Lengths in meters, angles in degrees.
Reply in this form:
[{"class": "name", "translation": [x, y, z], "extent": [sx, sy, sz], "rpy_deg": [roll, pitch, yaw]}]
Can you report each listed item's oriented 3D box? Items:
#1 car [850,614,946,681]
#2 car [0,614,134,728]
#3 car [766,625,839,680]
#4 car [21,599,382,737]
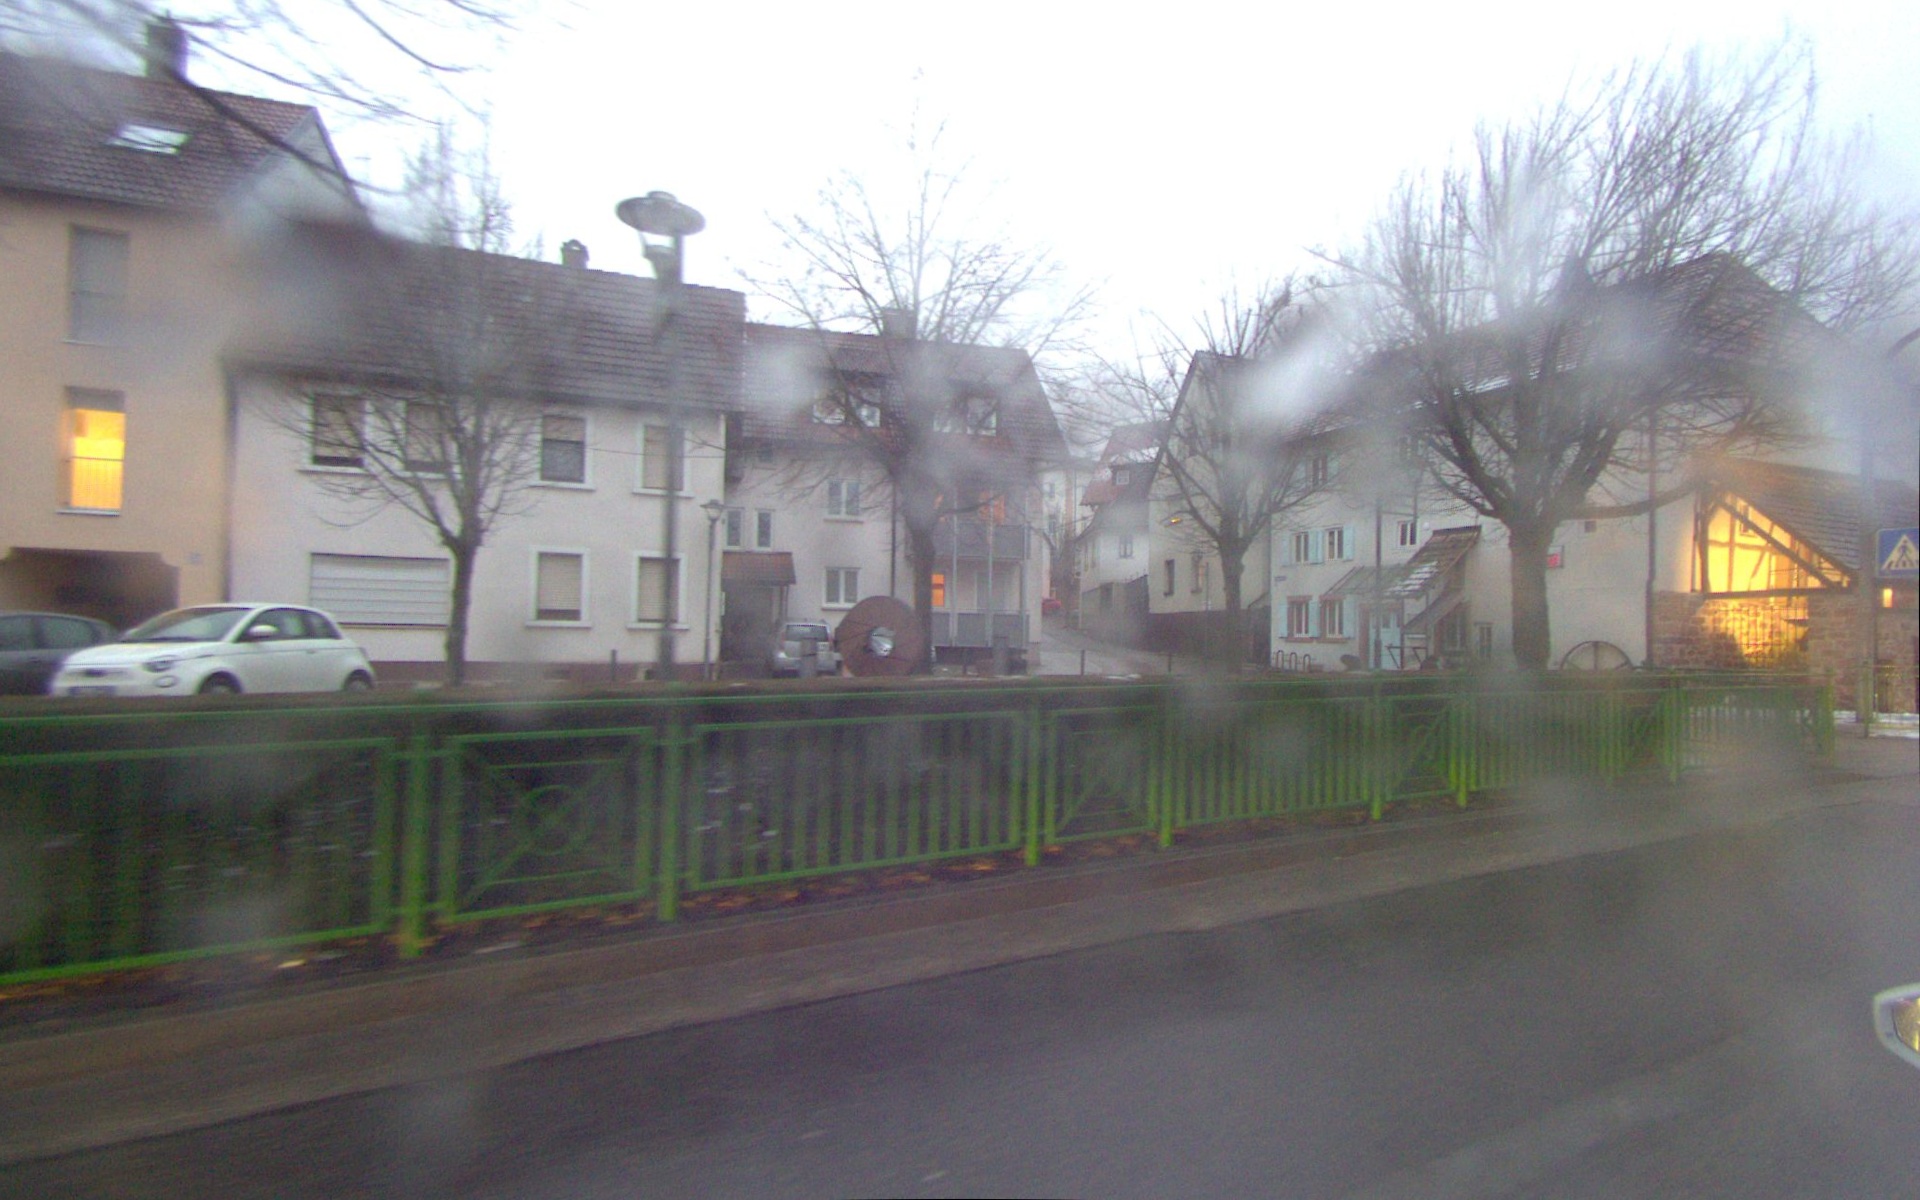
[{"class": "car", "translation": [-1.796, 1.252, 27.831], "extent": [1.687, 1.633, 3.593], "rpy_deg": [1, 1, -20]}, {"class": "car", "translation": [-11.402, 0.791, 11.296], "extent": [1.578, 1.236, 3.057], "rpy_deg": [1, -1, 4]}, {"class": "car", "translation": [-4.276, 1.376, 26.977], "extent": [1.504, 1.142, 3.043], "rpy_deg": [1, 3, -17]}, {"class": "car", "translation": [-9.009, 0.732, 12.331], "extent": [1.578, 1.428, 3.487], "rpy_deg": [1, -1, 5]}]
